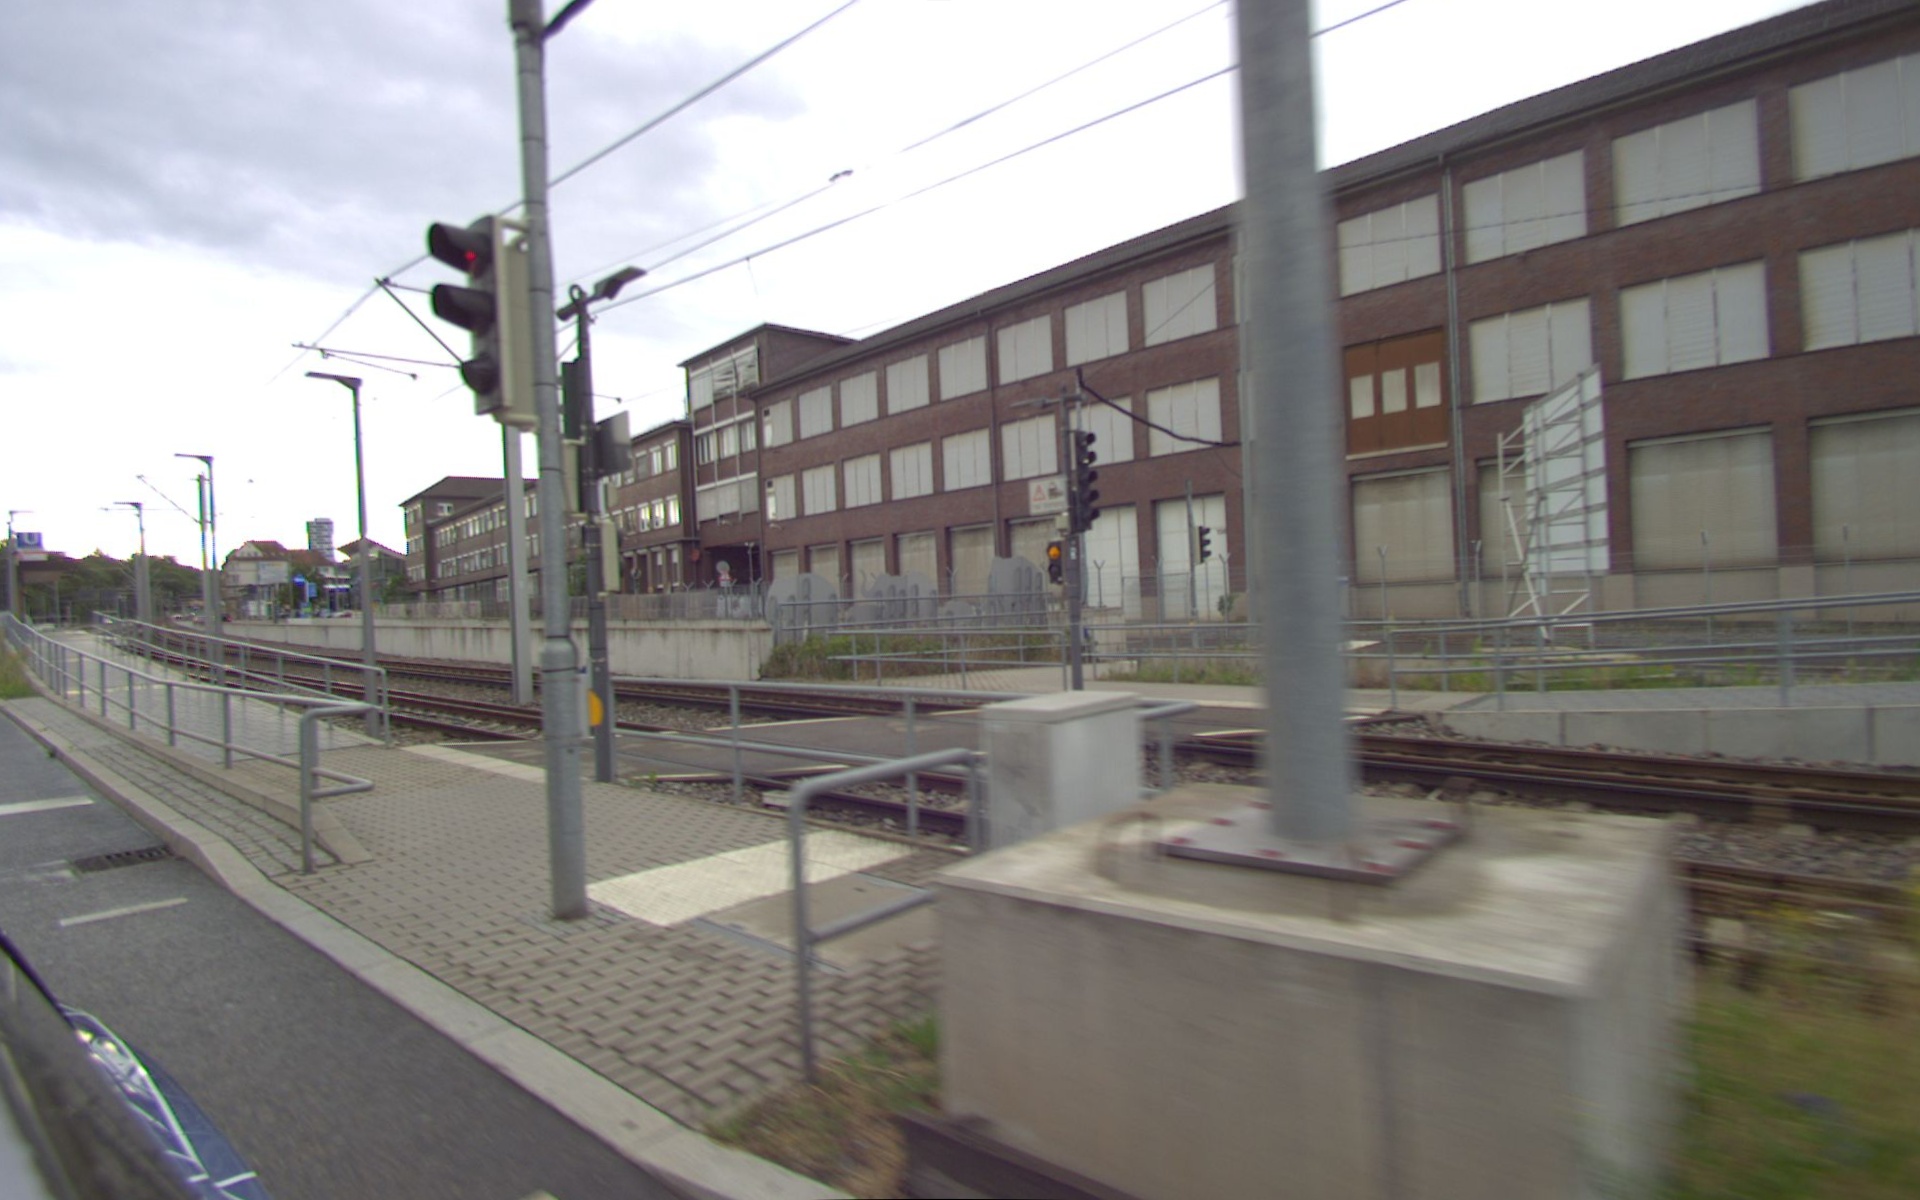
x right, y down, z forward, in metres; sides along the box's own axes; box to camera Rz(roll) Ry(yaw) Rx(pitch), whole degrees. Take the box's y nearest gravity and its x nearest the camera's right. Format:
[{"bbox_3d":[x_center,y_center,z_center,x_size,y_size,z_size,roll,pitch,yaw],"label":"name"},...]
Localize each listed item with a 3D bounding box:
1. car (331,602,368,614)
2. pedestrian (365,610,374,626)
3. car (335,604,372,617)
[{"bbox_3d":[-92.691,1.228,153.587,4.507,1.773,2.003,-2,0,-40],"label":"car"},{"bbox_3d":[-71.090,2.167,121.785,0.723,2.029,0.578,-1,-1,14],"label":"pedestrian"},{"bbox_3d":[-90.490,1.492,151.048,4.507,1.773,2.003,-2,0,-40],"label":"car"}]
